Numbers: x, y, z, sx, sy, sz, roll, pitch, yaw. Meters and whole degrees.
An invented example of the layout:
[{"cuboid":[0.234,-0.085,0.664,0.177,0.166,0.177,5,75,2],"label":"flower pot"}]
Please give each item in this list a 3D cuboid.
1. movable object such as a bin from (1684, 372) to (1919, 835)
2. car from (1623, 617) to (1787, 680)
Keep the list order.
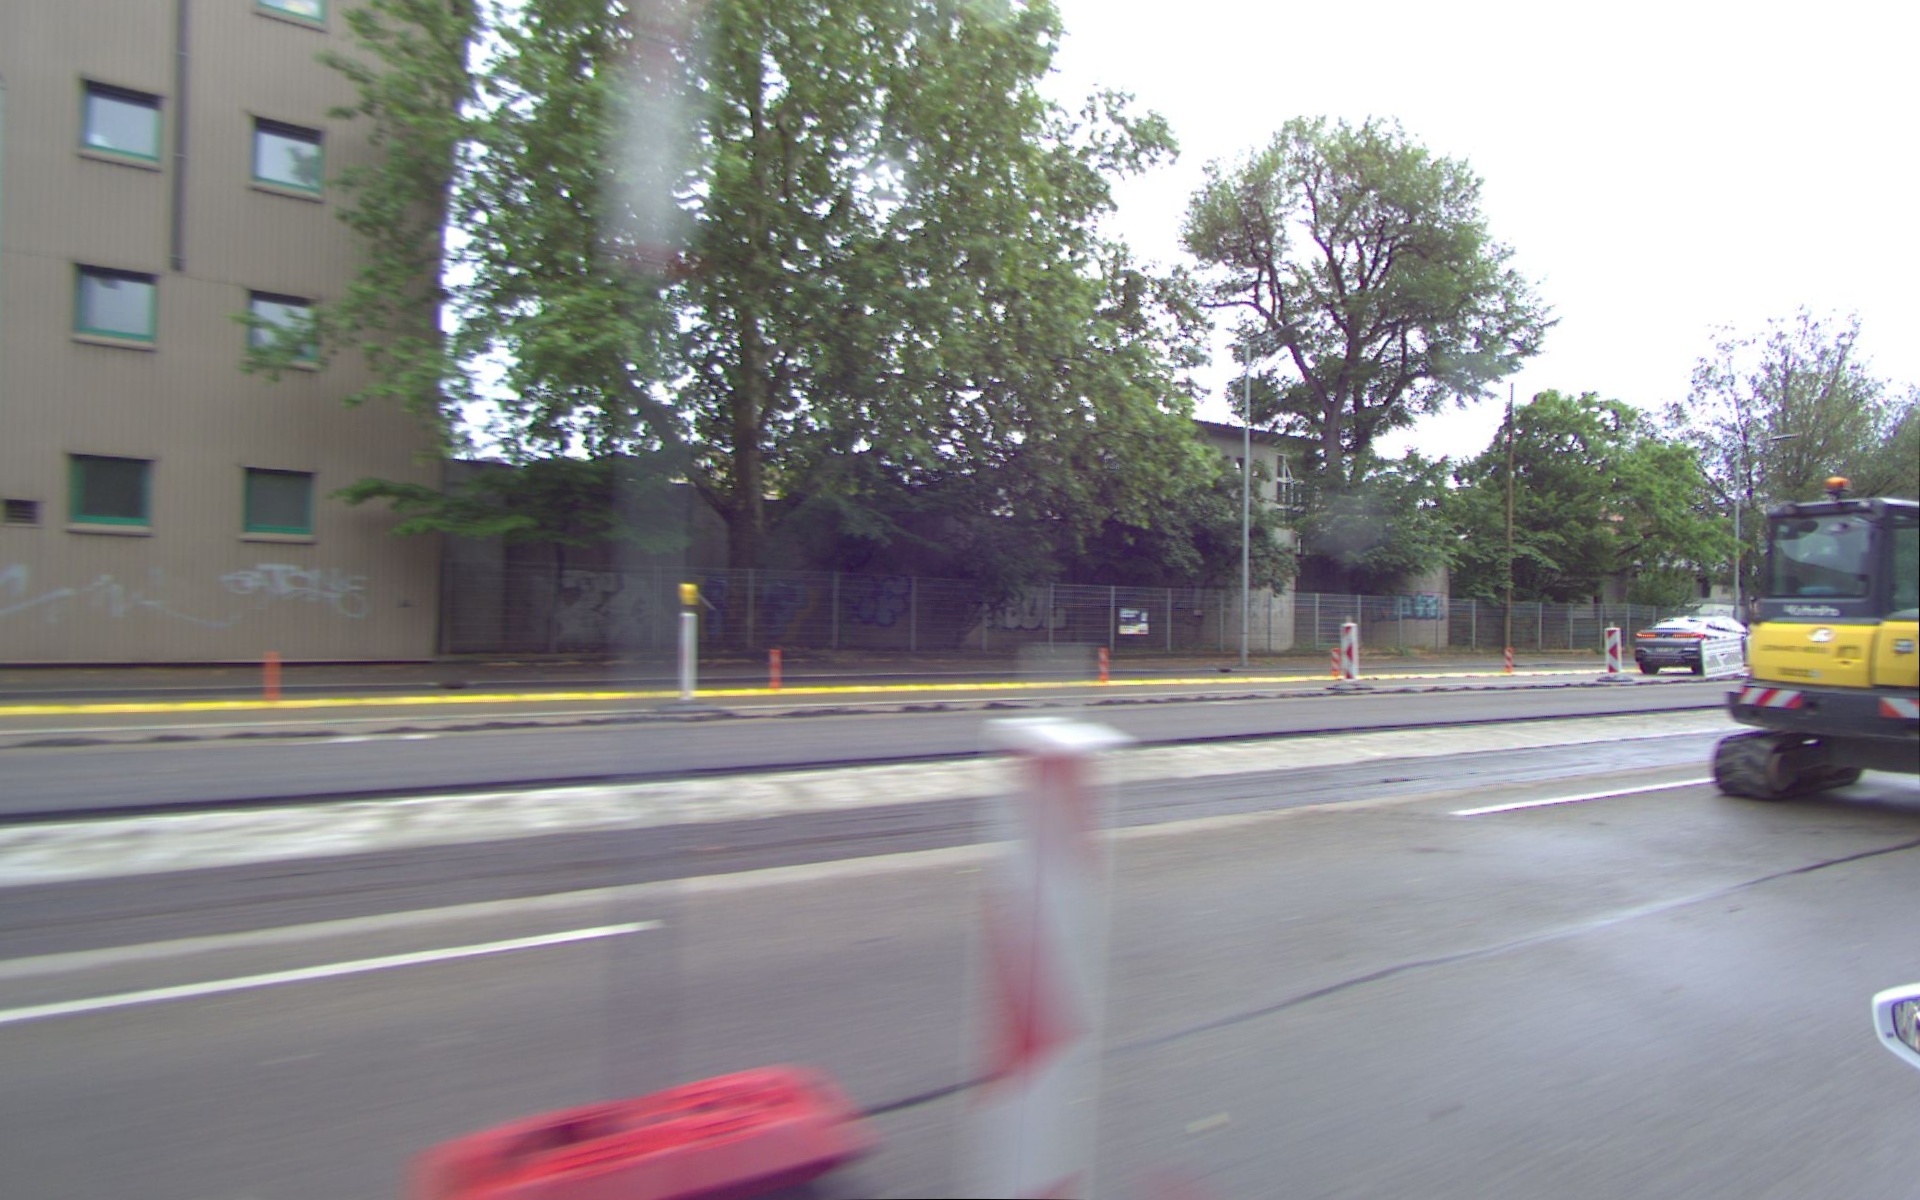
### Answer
[{"cuboid":[9.368,0.097,9.344,5.911,3.412,1.984,2,0,-30],"label":"movable object such as a bin"},{"cuboid":[21.763,1.395,29.306,4.998,1.634,2.066,2,0,-31],"label":"car"}]
